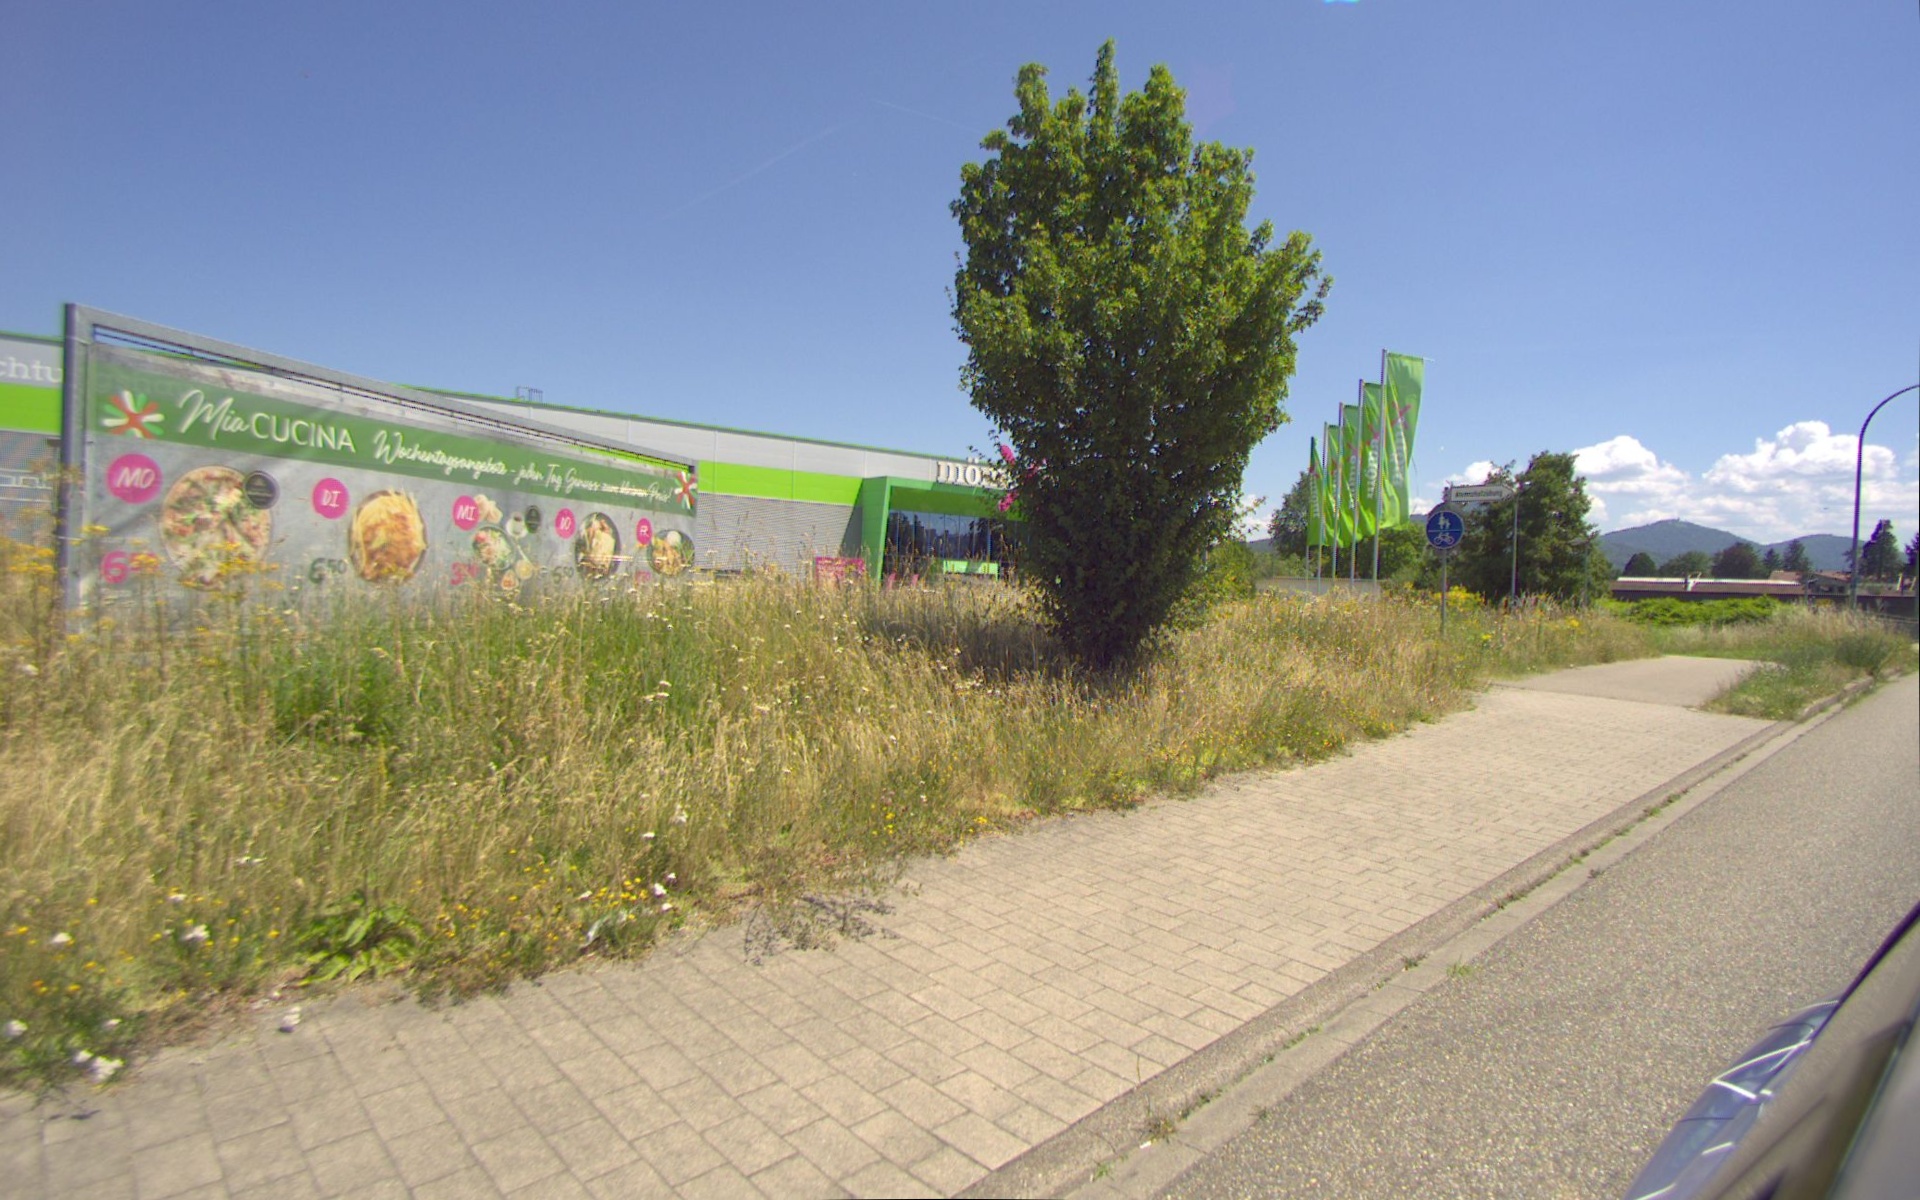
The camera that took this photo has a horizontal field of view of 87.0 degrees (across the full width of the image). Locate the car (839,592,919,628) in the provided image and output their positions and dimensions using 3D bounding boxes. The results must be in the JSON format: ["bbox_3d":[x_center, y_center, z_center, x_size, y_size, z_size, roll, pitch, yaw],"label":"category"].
[{"bbox_3d":[-3.831,0.423,47.377,1.911,1.480,4.000,0,3,-36],"label":"car"}]

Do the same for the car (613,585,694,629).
[{"bbox_3d":[-12.388,0.236,40.759,1.911,1.550,4.000,0,3,-36],"label":"car"}]

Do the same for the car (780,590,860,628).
[{"bbox_3d":[-6.367,0.384,45.699,1.911,1.480,4.000,0,3,-36],"label":"car"}]

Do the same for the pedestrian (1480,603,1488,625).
[{"bbox_3d":[36.828,1.002,71.111,0.432,1.558,0.411,1,-2,19],"label":"pedestrian"}]
